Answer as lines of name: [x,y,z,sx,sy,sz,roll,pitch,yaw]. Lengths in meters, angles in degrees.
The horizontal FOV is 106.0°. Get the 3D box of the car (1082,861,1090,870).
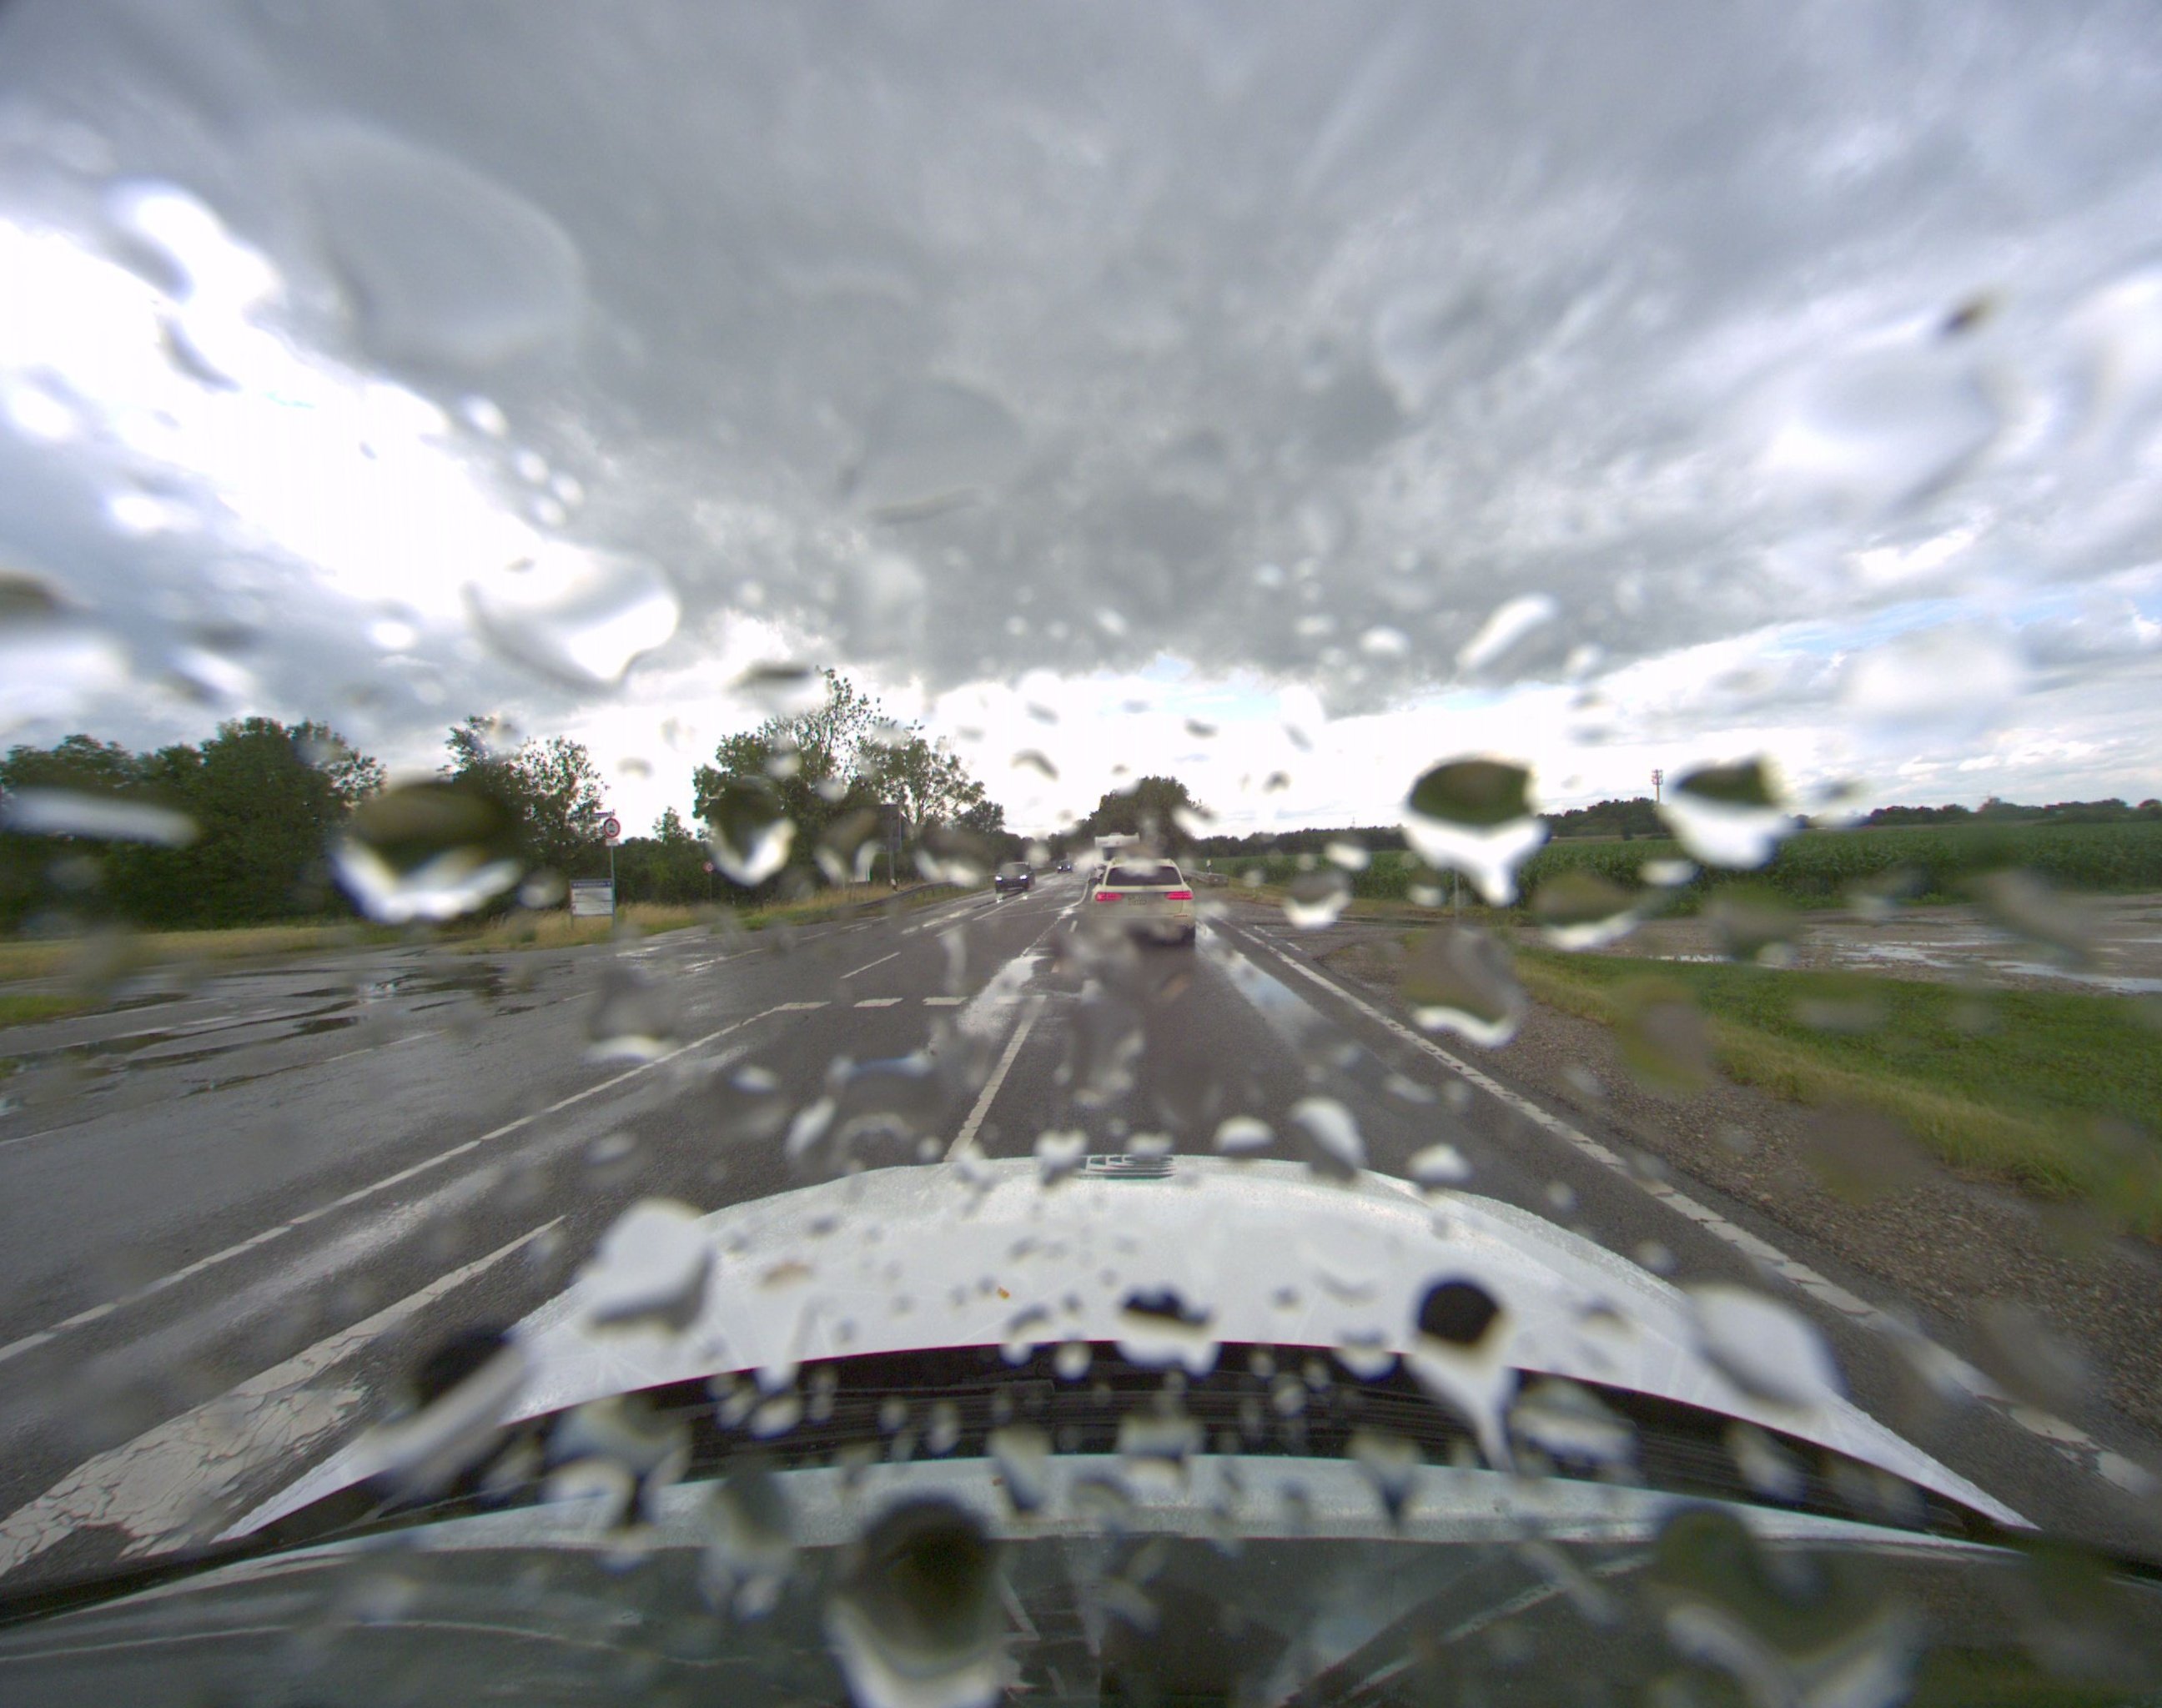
car: [1.196,2.655,190.501,1.733,1.860,3.786,-2,0,2]

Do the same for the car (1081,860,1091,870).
car: [1.108,2.396,172.314,1.845,2.014,3.812,-2,-1,2]

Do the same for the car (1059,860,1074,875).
car: [-1.680,1.559,94.861,1.574,1.640,3.442,-2,-1,1]

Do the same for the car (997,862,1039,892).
car: [-3.404,1.247,44.854,1.821,1.574,4.002,0,-1,2]

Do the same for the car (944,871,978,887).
car: [-13.145,2.724,89.330,2.288,1.547,4.645,0,-1,10]

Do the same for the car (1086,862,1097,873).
car: [1.899,2.427,145.256,1.784,1.777,3.722,-2,0,2]

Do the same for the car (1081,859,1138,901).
car: [1.076,0.934,30.546,1.986,1.462,4.001,0,-1,2]

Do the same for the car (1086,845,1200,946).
car: [1.082,0.693,15.339,1.836,1.618,4.001,-1,-1,2]

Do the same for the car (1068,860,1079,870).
car: [-1.138,1.685,130.118,1.602,1.492,3.785,-2,-1,0]

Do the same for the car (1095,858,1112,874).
car: [2.802,1.403,99.585,1.907,1.841,3.799,-2,0,4]

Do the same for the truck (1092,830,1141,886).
truck: [1.901,0.221,44.437,2.354,2.729,7.317,-2,0,2]

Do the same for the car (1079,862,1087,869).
car: [0.557,2.890,199.471,1.744,1.662,3.670,-3,-1,-1]
